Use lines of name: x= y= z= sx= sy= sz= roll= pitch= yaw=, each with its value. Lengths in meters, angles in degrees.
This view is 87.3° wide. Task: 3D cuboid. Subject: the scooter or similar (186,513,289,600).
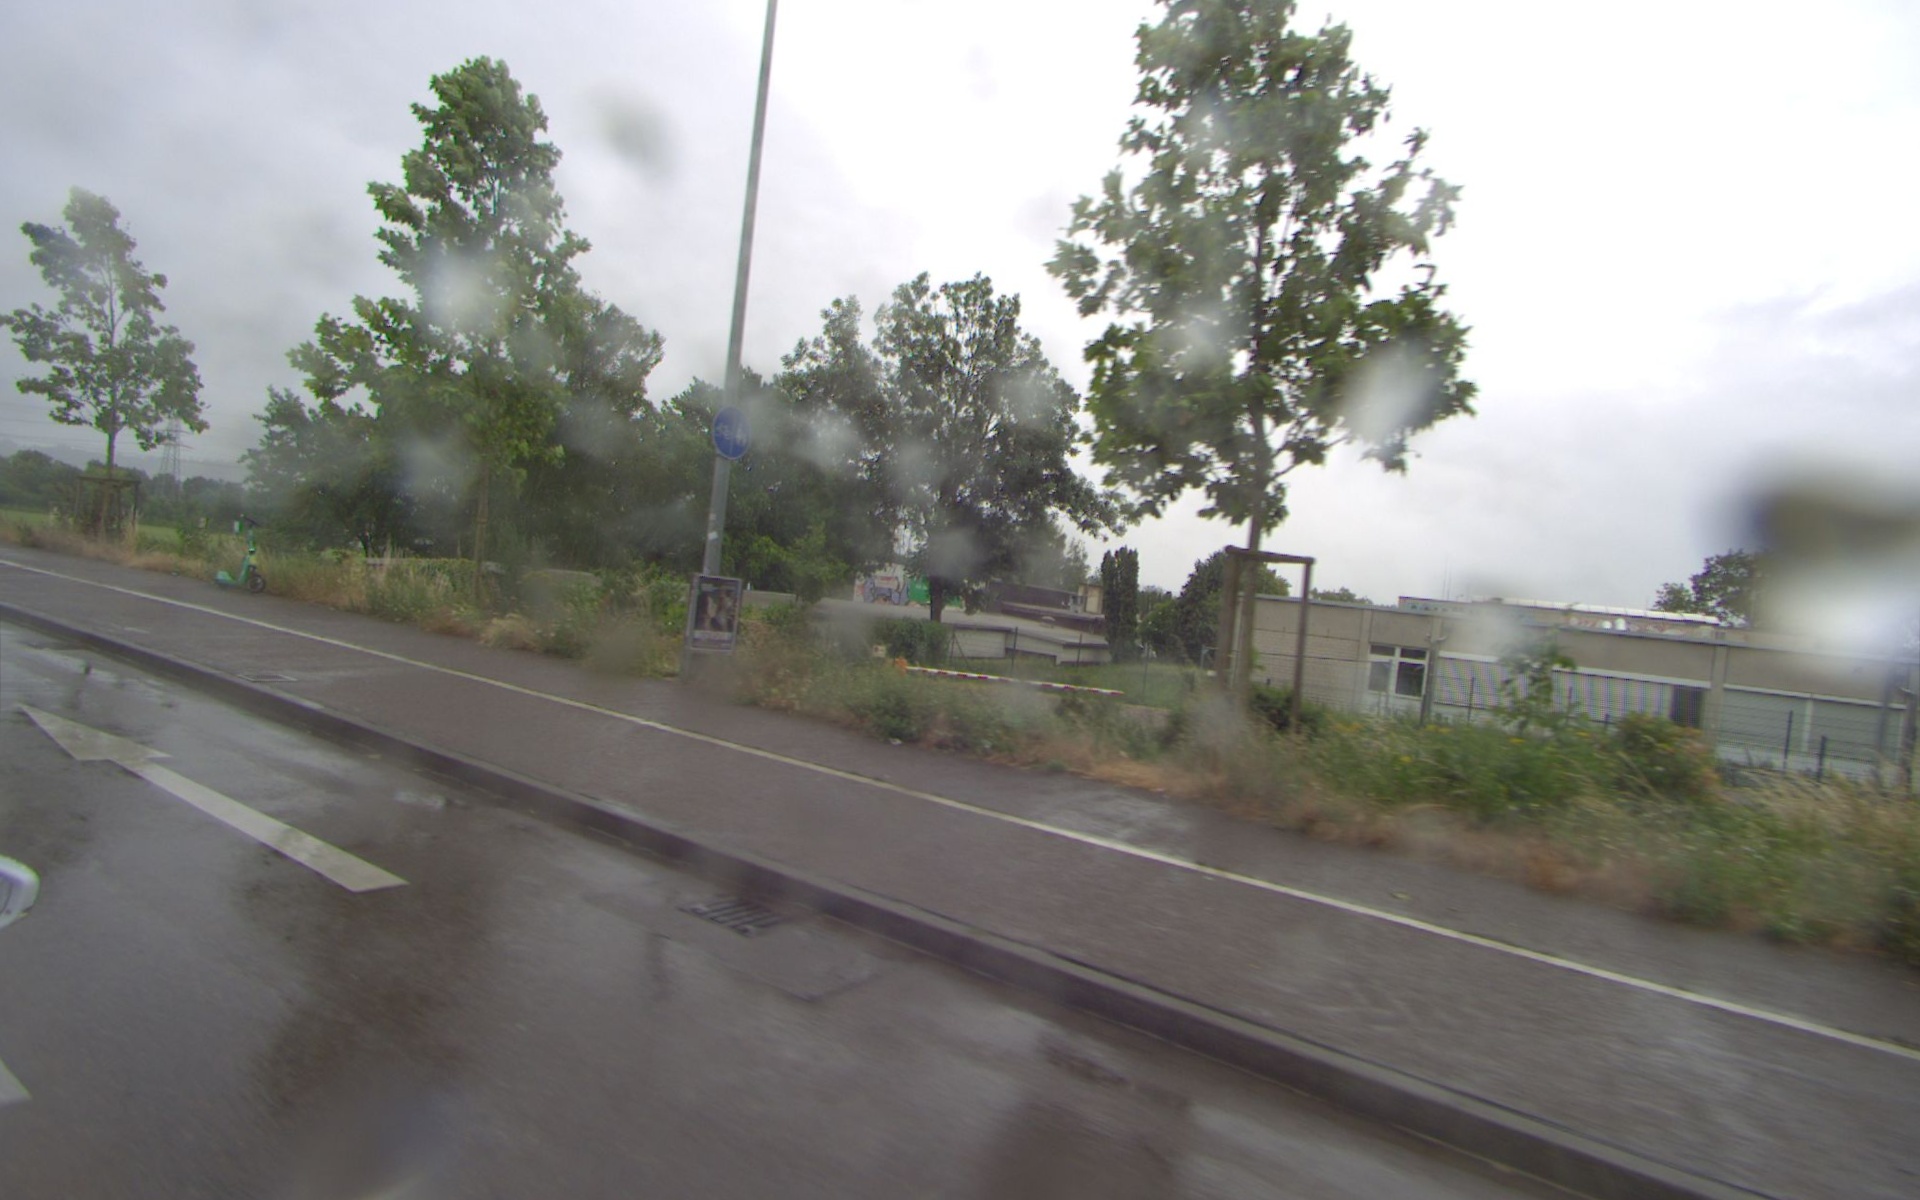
scooter or similar: x=-11.642 y=-0.700 z=16.201 sx=1.535 sy=1.210 sz=0.644 roll=7 pitch=1 yaw=27
